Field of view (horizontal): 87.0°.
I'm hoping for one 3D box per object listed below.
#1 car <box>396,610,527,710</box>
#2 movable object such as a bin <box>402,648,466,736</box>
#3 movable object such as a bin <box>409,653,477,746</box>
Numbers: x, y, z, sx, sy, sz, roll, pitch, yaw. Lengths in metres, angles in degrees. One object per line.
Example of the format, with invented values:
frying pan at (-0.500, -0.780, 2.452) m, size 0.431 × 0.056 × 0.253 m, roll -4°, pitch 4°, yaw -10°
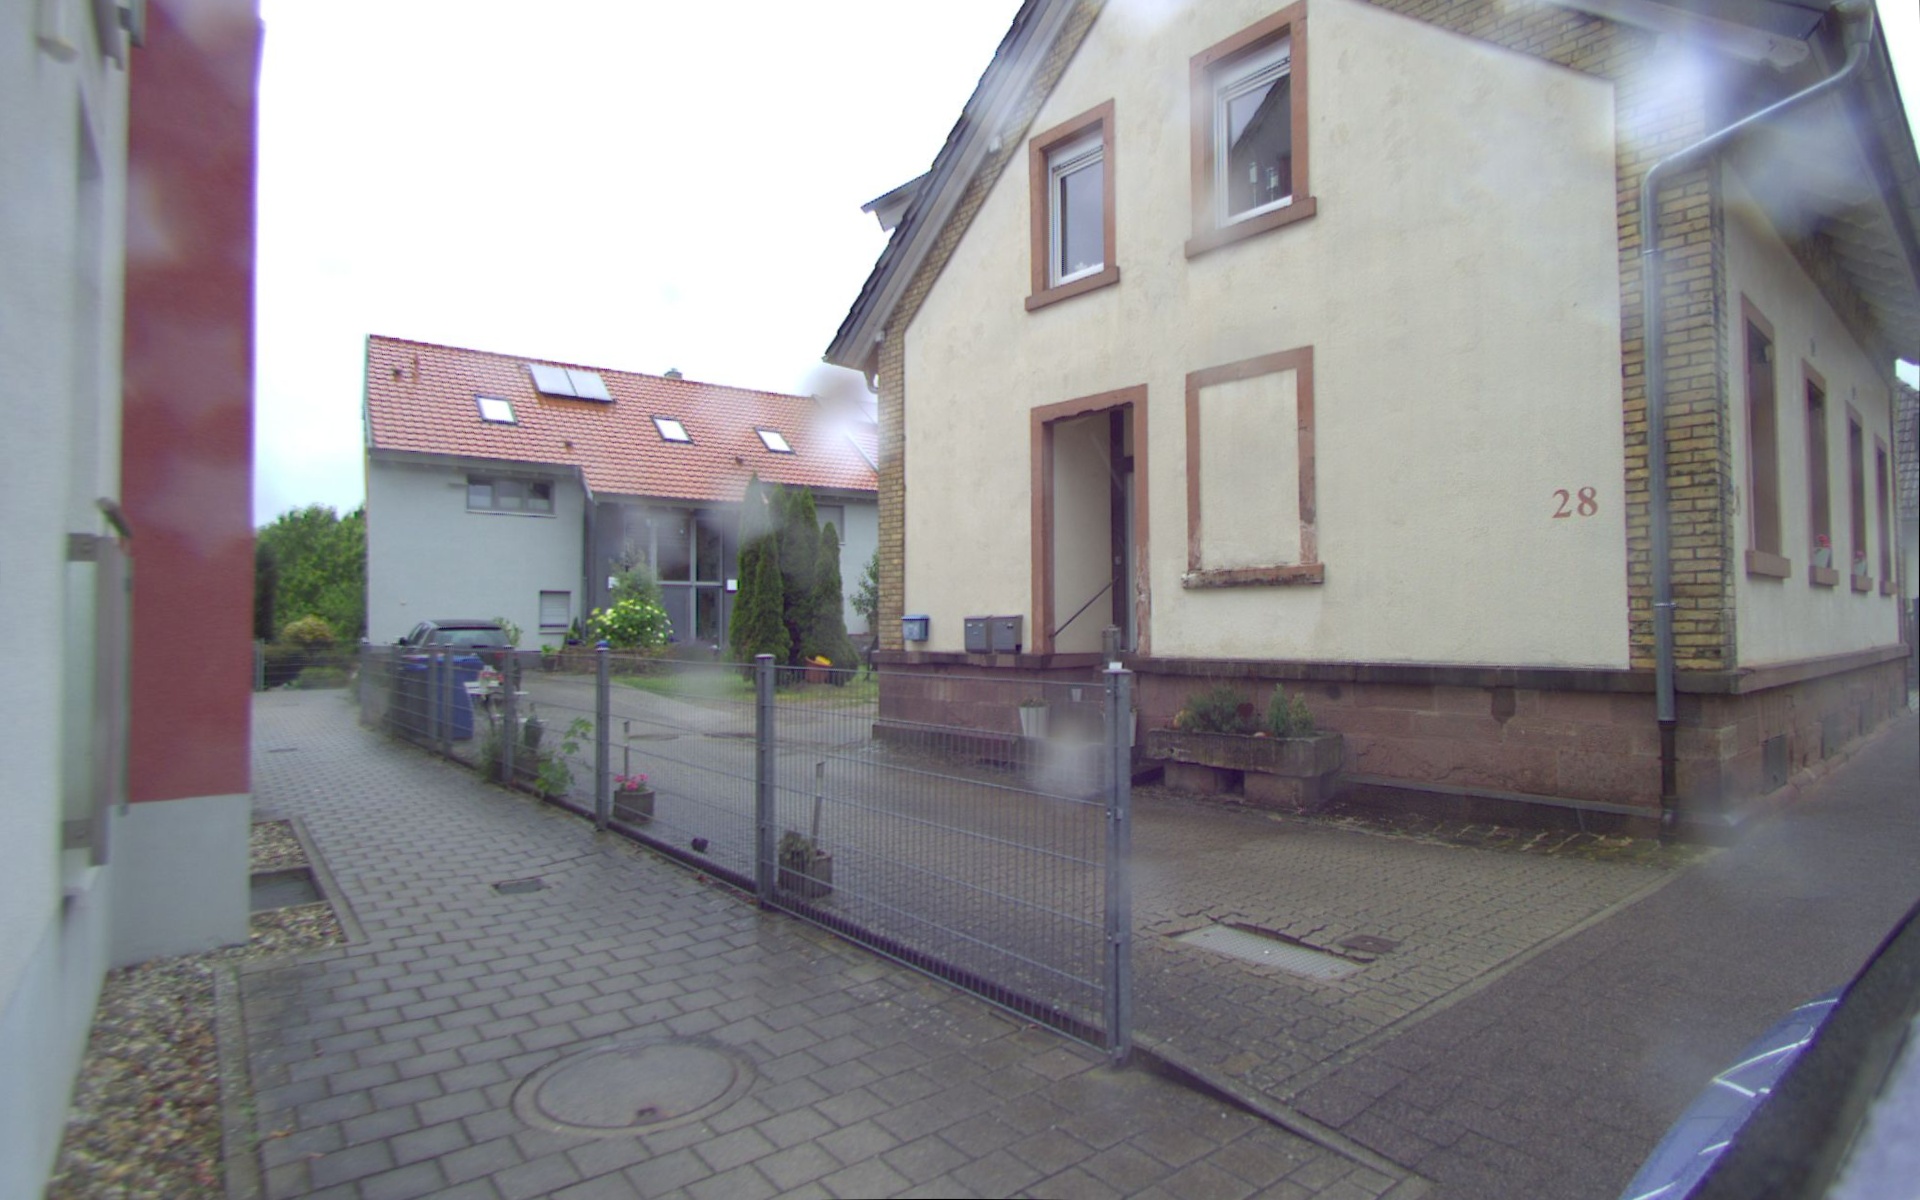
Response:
car at (-9.453, 1.020, 19.034) m, size 1.652 × 1.491 × 4.001 m, roll 0°, pitch 2°, yaw -34°
movable object such as a bin at (-7.108, 1.221, 13.666) m, size 0.675 × 1.110 × 0.535 m, roll 0°, pitch -2°, yaw -40°
movable object such as a bin at (-6.598, 1.249, 12.909) m, size 0.675 × 1.110 × 0.535 m, roll 0°, pitch -2°, yaw -40°
